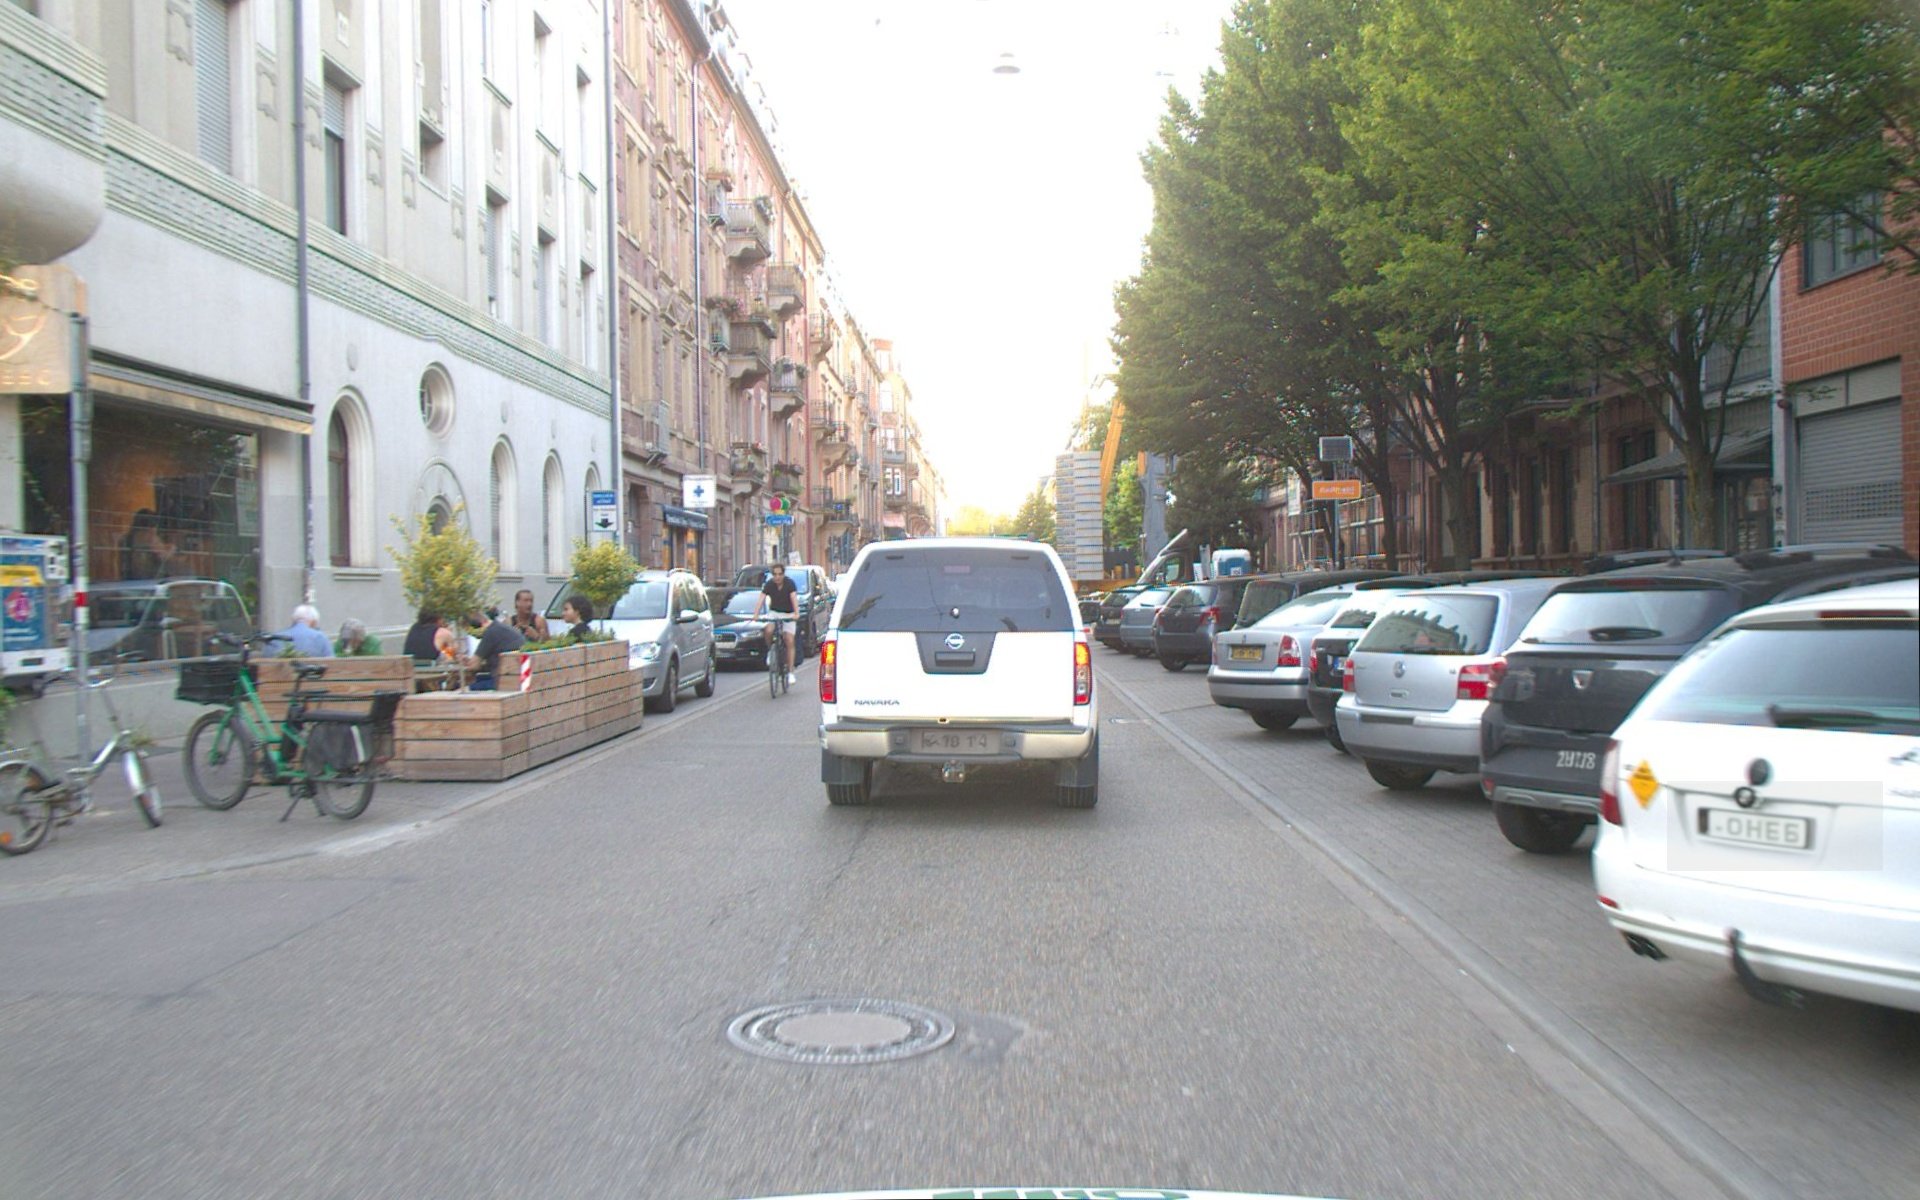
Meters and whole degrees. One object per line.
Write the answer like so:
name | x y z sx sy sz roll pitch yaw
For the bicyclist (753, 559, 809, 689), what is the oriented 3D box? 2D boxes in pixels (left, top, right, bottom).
bicyclist | -2.426 0.310 22.524 0.590 1.714 1.143 -1 0 1

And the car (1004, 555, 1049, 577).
car | 6.744 -3.438 167.135 4.491 2.215 1.820 0 0 4

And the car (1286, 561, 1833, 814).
car | 4.270 0.519 11.764 3.551 1.508 1.708 -1 1 -27

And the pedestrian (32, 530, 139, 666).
pedestrian | -7.765 -0.018 14.711 0.545 1.174 0.748 0 0 0

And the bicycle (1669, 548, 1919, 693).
bicycle | 9.006 0.210 17.651 2.482 1.266 0.599 -6 0 3

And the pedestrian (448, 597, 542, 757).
pedestrian | -4.048 0.654 14.424 0.596 1.348 0.770 0 0 0

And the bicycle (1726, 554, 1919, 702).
bicycle | 8.886 0.259 16.159 2.481 1.403 0.599 -1 0 3

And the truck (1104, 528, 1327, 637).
truck | 7.337 -0.475 48.023 6.189 3.029 2.264 0 -2 2

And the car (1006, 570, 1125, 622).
car | 3.756 -0.141 58.651 4.106 1.811 1.821 0 0 7

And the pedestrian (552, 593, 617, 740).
pedestrian | -3.608 0.626 15.923 0.474 1.373 0.669 0 0 0

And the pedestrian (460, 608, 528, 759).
pedestrian | -4.345 0.768 15.435 0.458 1.373 0.611 0 0 0

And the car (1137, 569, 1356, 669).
car | 4.913 0.278 28.361 3.361 1.500 1.757 -3 2 -30

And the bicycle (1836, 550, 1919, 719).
bicycle | 8.868 0.271 14.058 2.481 1.403 0.599 -1 0 3

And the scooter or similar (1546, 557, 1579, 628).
scooter or similar | 10.876 -0.151 29.840 0.361 1.239 1.703 -4 0 24

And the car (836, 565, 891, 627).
car | -3.172 -0.160 54.838 1.527 1.954 3.856 1 1 0

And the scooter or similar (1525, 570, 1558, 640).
scooter or similar | 10.791 0.075 30.691 0.361 1.239 1.619 -4 0 24

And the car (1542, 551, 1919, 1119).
car | 4.101 0.597 5.971 3.945 1.564 1.619 -2 1 -30

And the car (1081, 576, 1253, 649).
car | 4.659 0.242 37.008 3.855 1.557 1.615 -1 1 -39

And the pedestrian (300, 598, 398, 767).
pedestrian | -5.010 0.658 13.587 0.526 1.348 0.705 0 0 1

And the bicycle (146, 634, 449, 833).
bicycle | -4.199 0.801 10.433 2.068 1.114 0.501 0 2 26

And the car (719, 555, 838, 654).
car | -3.770 0.066 35.239 1.865 1.959 4.948 0 1 1

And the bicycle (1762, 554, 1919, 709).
bicycle | 8.903 0.275 15.458 2.481 1.403 0.599 -1 0 3

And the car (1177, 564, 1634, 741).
car | 4.533 0.458 16.806 4.314 1.561 1.794 -1 1 -24

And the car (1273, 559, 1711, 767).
car | 4.603 0.461 14.257 3.552 1.561 1.549 -1 1 -28

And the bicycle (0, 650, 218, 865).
bicycle | -5.079 0.861 9.603 0.414 1.030 1.720 0 2 14

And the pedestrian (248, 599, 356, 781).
pedestrian | -5.050 0.674 12.718 0.526 1.348 0.705 0 0 1

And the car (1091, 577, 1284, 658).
car | 4.754 0.331 34.389 3.791 1.461 1.742 -3 2 -34

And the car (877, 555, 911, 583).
car | -3.695 -1.733 92.741 1.675 1.557 4.001 0 1 1

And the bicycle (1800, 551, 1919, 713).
bicycle | 8.889 0.262 14.707 2.481 1.403 0.599 -1 0 3

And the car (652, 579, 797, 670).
car | -4.101 0.382 29.478 1.872 1.497 4.534 0 1 1

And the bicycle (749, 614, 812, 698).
bicycle | -2.426 0.738 22.524 0.602 1.058 1.904 -1 1 1

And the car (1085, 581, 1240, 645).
car | 4.887 0.279 39.860 3.511 1.490 1.595 0 1 -30

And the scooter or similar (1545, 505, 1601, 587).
scooter or similar | 10.013 -0.863 27.063 0.457 1.238 1.777 -8 -1 12

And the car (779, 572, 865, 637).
car | -3.761 0.099 45.683 1.865 1.692 4.069 -1 1 2

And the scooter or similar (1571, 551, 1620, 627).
scooter or similar | 11.018 -0.198 28.702 0.403 1.238 1.777 -6 0 12

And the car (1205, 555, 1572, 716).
car | 5.104 0.372 19.776 3.927 1.665 1.749 -2 1 -19

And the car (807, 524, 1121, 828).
car | 0.128 0.428 12.333 1.893 1.826 4.624 0 1 3

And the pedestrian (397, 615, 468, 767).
pedestrian | -4.898 0.829 15.380 0.458 1.373 0.611 0 0 0

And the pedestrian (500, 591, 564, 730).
pedestrian | -4.299 0.594 16.616 0.506 1.373 0.540 0 0 -2

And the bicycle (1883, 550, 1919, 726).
bicycle | 8.881 0.277 13.343 2.481 1.403 0.599 -1 0 3

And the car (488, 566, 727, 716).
car | -4.180 0.428 20.343 1.952 1.619 4.314 -1 1 0

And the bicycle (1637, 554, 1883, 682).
bicycle | 9.155 0.200 18.986 2.481 1.403 0.599 -1 0 3

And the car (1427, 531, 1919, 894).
car | 4.429 0.458 9.006 3.560 1.608 1.697 -2 1 -32

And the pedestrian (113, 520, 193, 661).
pedestrian | -8.012 -0.094 16.435 0.527 1.373 0.518 0 0 2

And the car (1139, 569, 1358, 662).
car | 5.508 0.271 31.564 3.776 1.557 1.749 -2 0 -25

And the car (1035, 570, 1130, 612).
car | 5.351 -0.401 72.237 4.107 1.811 1.820 0 0 4
